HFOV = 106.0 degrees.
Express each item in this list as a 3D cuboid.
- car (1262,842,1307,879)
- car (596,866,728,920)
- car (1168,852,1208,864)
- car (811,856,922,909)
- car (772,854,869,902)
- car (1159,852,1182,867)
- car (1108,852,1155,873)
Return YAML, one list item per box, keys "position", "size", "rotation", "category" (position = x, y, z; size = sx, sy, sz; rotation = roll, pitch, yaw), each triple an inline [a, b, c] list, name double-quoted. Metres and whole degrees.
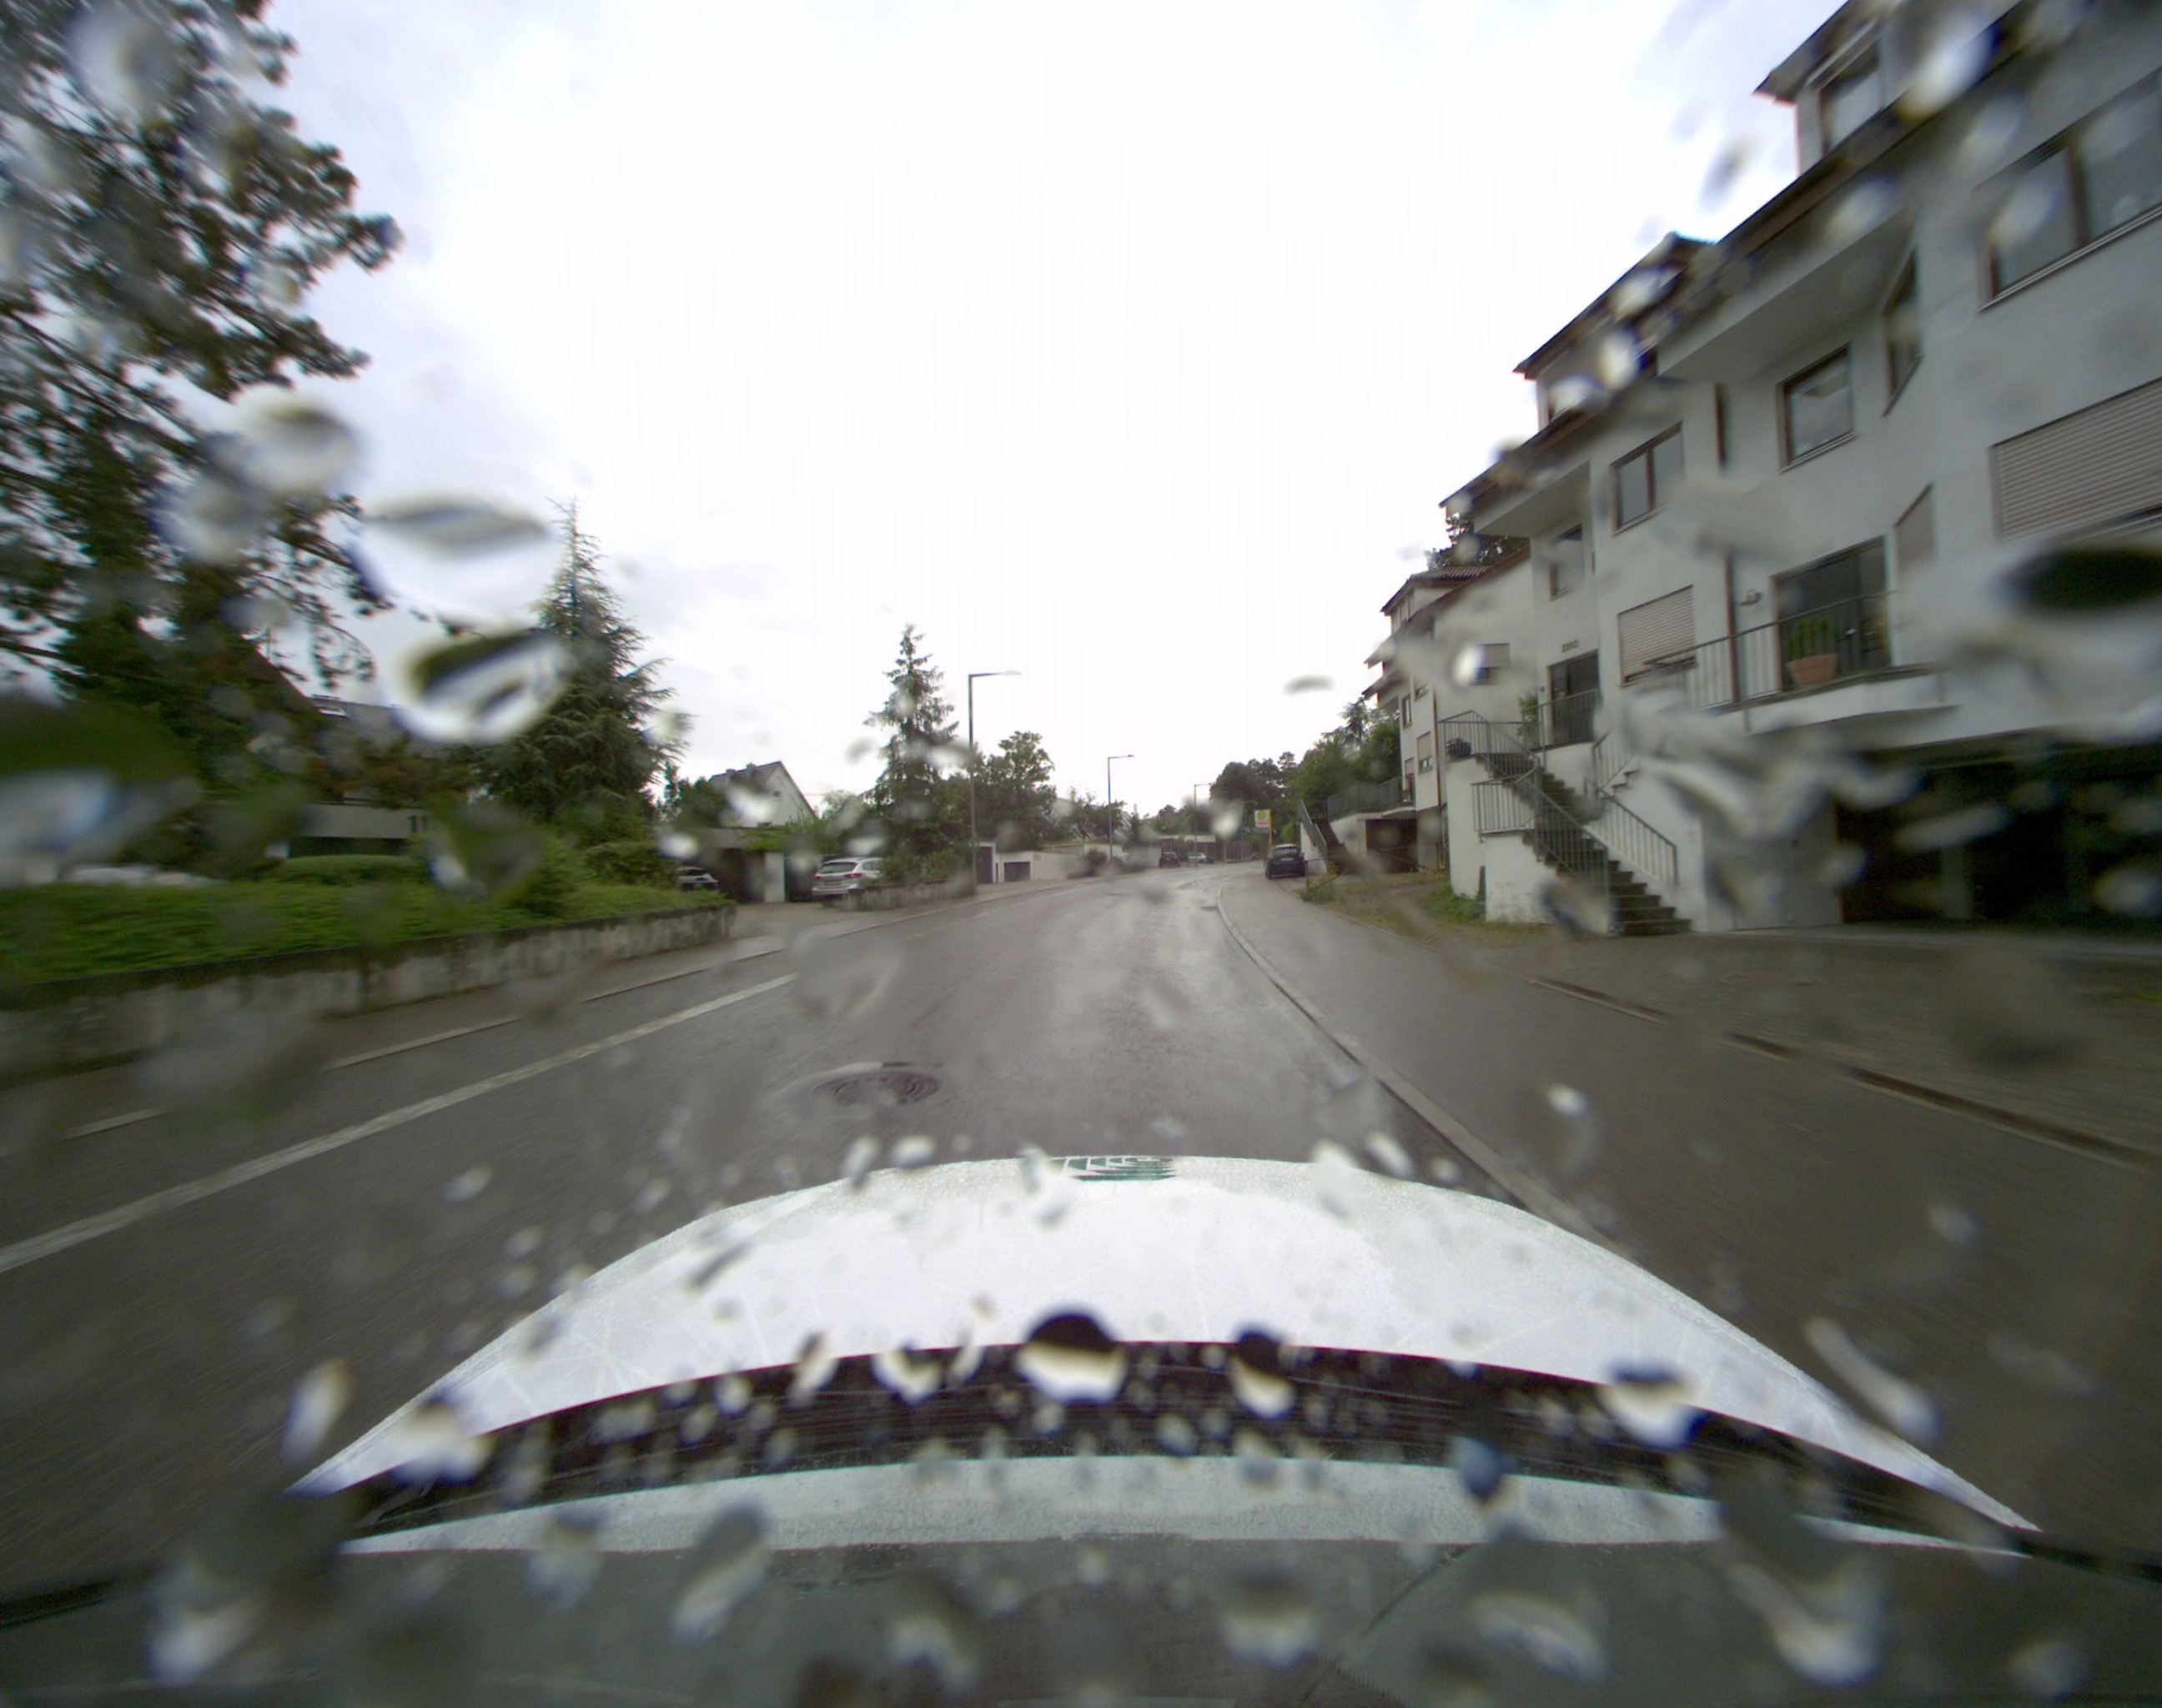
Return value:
- position: [9.182, 0.283, 37.003]
  size: [1.694, 1.454, 4.033]
  rotation: [-5, -1, 11]
  category: "car"
- position: [-12.374, 1.105, 23.994]
  size: [3.948, 1.437, 1.954]
  rotation: [-2, -1, 38]
  category: "car"
- position: [13.202, 0.500, 100.321]
  size: [4.532, 1.442, 1.750]
  rotation: [-1, 0, -19]
  category: "car"
- position: [-6.836, 0.863, 26.406]
  size: [1.722, 1.551, 4.015]
  rotation: [-2, -1, 13]
  category: "car"
- position: [-10.662, 0.984, 33.220]
  size: [3.949, 1.838, 2.012]
  rotation: [-3, -1, 41]
  category: "car"
- position: [8.685, 0.490, 78.569]
  size: [1.822, 1.405, 4.274]
  rotation: [-1, 0, 11]
  category: "car"
- position: [4.078, 0.651, 65.424]
  size: [1.688, 1.553, 4.417]
  rotation: [-2, 0, 34]
  category: "car"
